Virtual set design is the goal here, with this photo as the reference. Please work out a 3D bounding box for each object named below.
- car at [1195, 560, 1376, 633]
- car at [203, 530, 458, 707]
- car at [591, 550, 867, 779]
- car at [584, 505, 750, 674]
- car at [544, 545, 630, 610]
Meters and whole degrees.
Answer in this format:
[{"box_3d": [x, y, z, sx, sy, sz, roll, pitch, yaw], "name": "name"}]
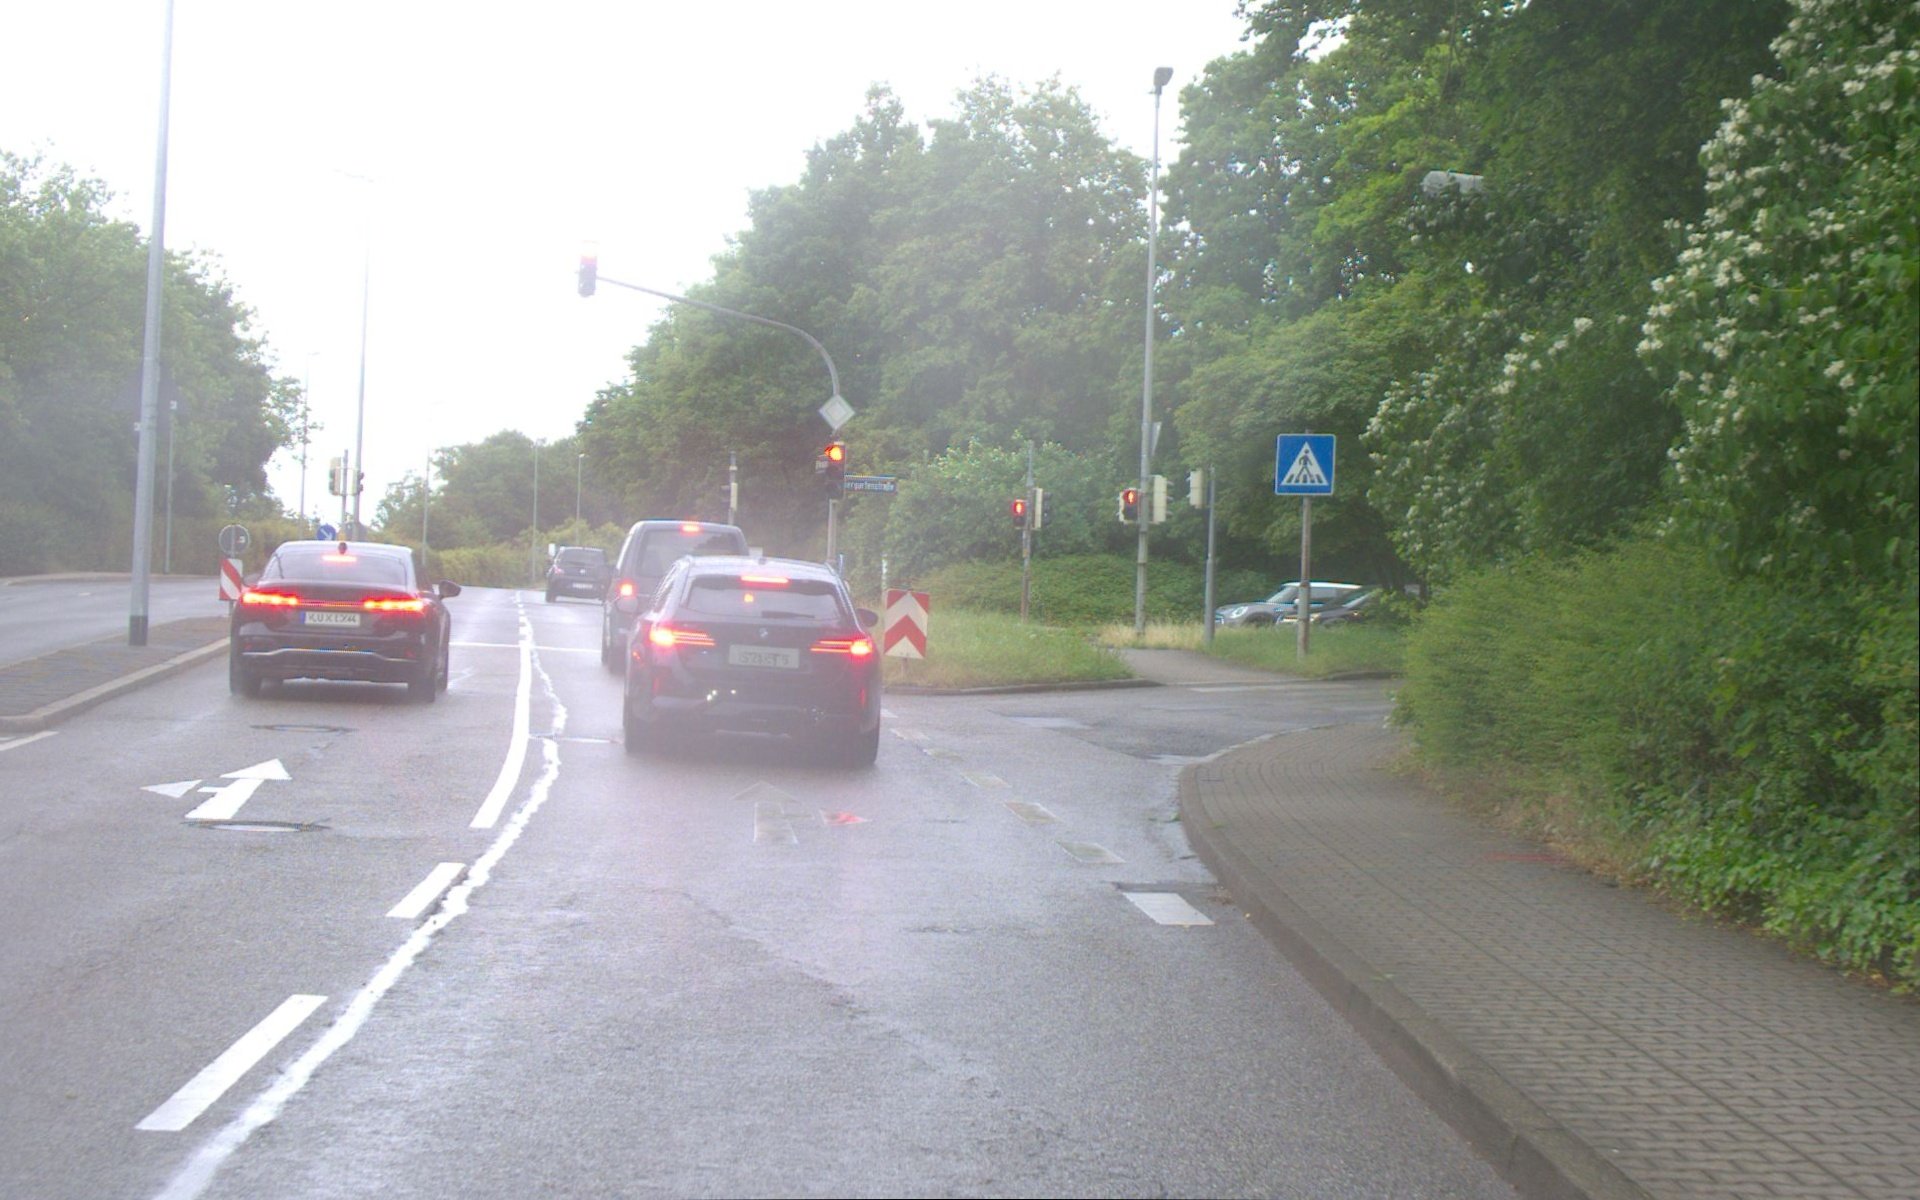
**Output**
[{"box_3d": [6.733, -0.083, 71.411, 3.501, 1.422, 1.703, -1, 2, -4], "name": "car"}, {"box_3d": [-5.789, 0.137, 32.082, 1.993, 1.522, 4.328, 0, 1, -6], "name": "car"}, {"box_3d": [-1.774, 0.463, 27.028, 1.898, 1.546, 4.615, 3, 0, -3], "name": "car"}, {"box_3d": [-3.591, -0.146, 41.725, 1.817, 1.862, 3.953, 3, 0, -6], "name": "car"}, {"box_3d": [-9.595, -0.600, 88.241, 1.993, 1.618, 3.953, 0, 1, -9], "name": "car"}]
